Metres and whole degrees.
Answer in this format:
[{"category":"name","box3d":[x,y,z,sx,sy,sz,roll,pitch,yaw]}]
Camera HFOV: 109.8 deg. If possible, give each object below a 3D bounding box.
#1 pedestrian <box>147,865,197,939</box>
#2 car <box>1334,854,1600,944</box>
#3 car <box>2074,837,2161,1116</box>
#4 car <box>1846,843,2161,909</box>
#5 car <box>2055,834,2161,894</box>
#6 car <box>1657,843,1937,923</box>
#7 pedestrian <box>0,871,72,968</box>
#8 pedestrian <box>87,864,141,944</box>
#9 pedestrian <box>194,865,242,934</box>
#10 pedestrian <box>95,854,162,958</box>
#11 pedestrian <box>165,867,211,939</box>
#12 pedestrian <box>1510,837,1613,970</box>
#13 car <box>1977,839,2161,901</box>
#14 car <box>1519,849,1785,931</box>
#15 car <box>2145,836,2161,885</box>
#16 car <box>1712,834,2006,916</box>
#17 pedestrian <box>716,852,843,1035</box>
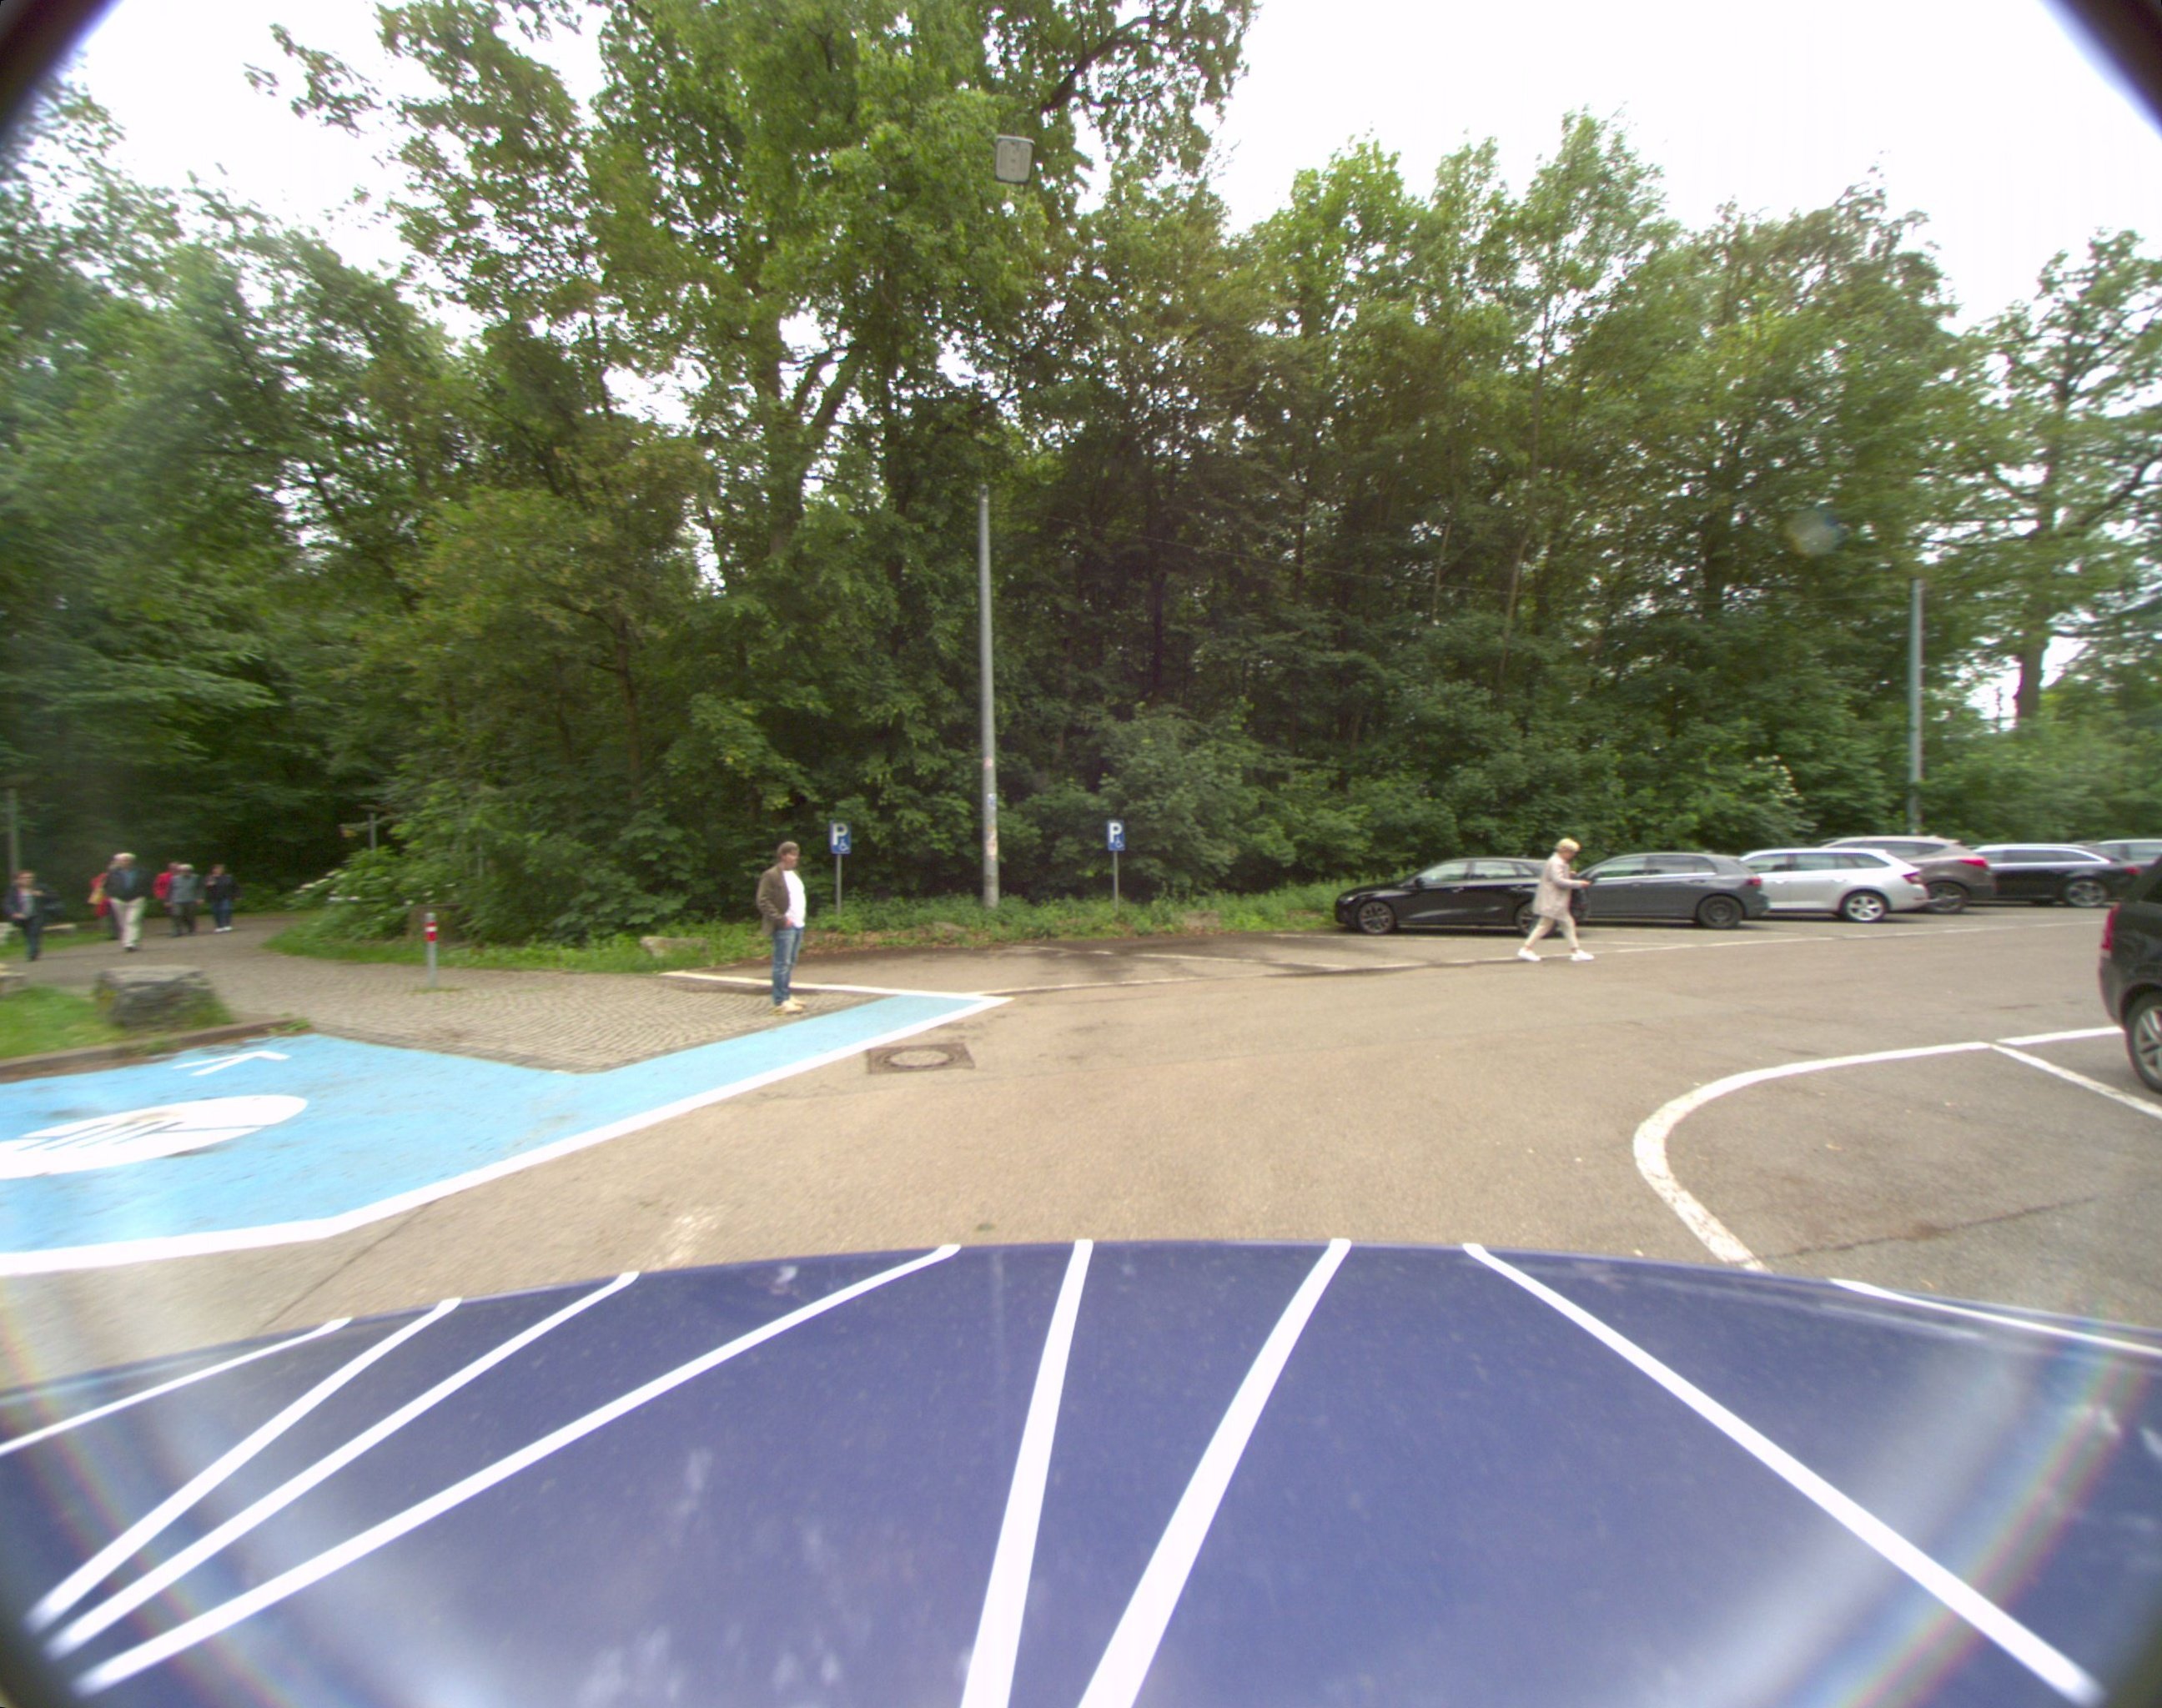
[{"category":"pedestrian","box3d":[-22.216,1.147,18.573,0.711,1.758,0.683,0,1,35]},{"category":"car","box3d":[7.149,0.775,14.286,4.193,1.454,1.903,-1,0,31]},{"category":"car","box3d":[6.305,0.707,2.666,1.825,1.599,4.396,-1,0,29]},{"category":"car","box3d":[21.196,0.477,17.780,4.251,1.369,1.969,-1,0,28]},{"category":"car","box3d":[28.365,0.237,19.627,3.572,1.496,1.738,-1,1,33]},{"category":"car","box3d":[14.467,0.536,15.720,3.988,1.458,1.839,0,0,35]},{"category":"pedestrian","box3d":[-18.416,1.123,13.326,0.635,1.624,0.780,0,1,41]},{"category":"pedestrian","box3d":[-21.798,1.106,17.123,0.603,1.752,0.685,0,1,35]},{"category":"pedestrian","box3d":[-21.604,1.128,19.019,0.660,1.663,0.683,0,1,35]},{"category":"pedestrian","box3d":[-18.203,0.961,14.536,0.666,1.905,0.736,0,1,41]},{"category":"pedestrian","box3d":[-21.140,1.139,17.991,0.603,1.663,0.610,0,1,35]},{"category":"pedestrian","box3d":[6.518,0.641,10.336,0.897,1.715,0.763,-1,1,-13]},{"category":"car","box3d":[25.378,0.368,18.538,4.175,1.449,1.808,-1,1,31]},{"category":"car","box3d":[10.982,0.653,15.027,3.989,1.414,1.914,-1,0,30]},{"category":"car","box3d":[32.485,0.157,20.324,4.284,1.405,1.932,-1,0,35]},{"category":"car","box3d":[17.083,0.434,17.048,4.251,1.627,1.969,-1,0,31]},{"category":"pedestrian","box3d":[-2.963,0.849,7.549,0.896,1.715,0.764,-1,1,3]}]
